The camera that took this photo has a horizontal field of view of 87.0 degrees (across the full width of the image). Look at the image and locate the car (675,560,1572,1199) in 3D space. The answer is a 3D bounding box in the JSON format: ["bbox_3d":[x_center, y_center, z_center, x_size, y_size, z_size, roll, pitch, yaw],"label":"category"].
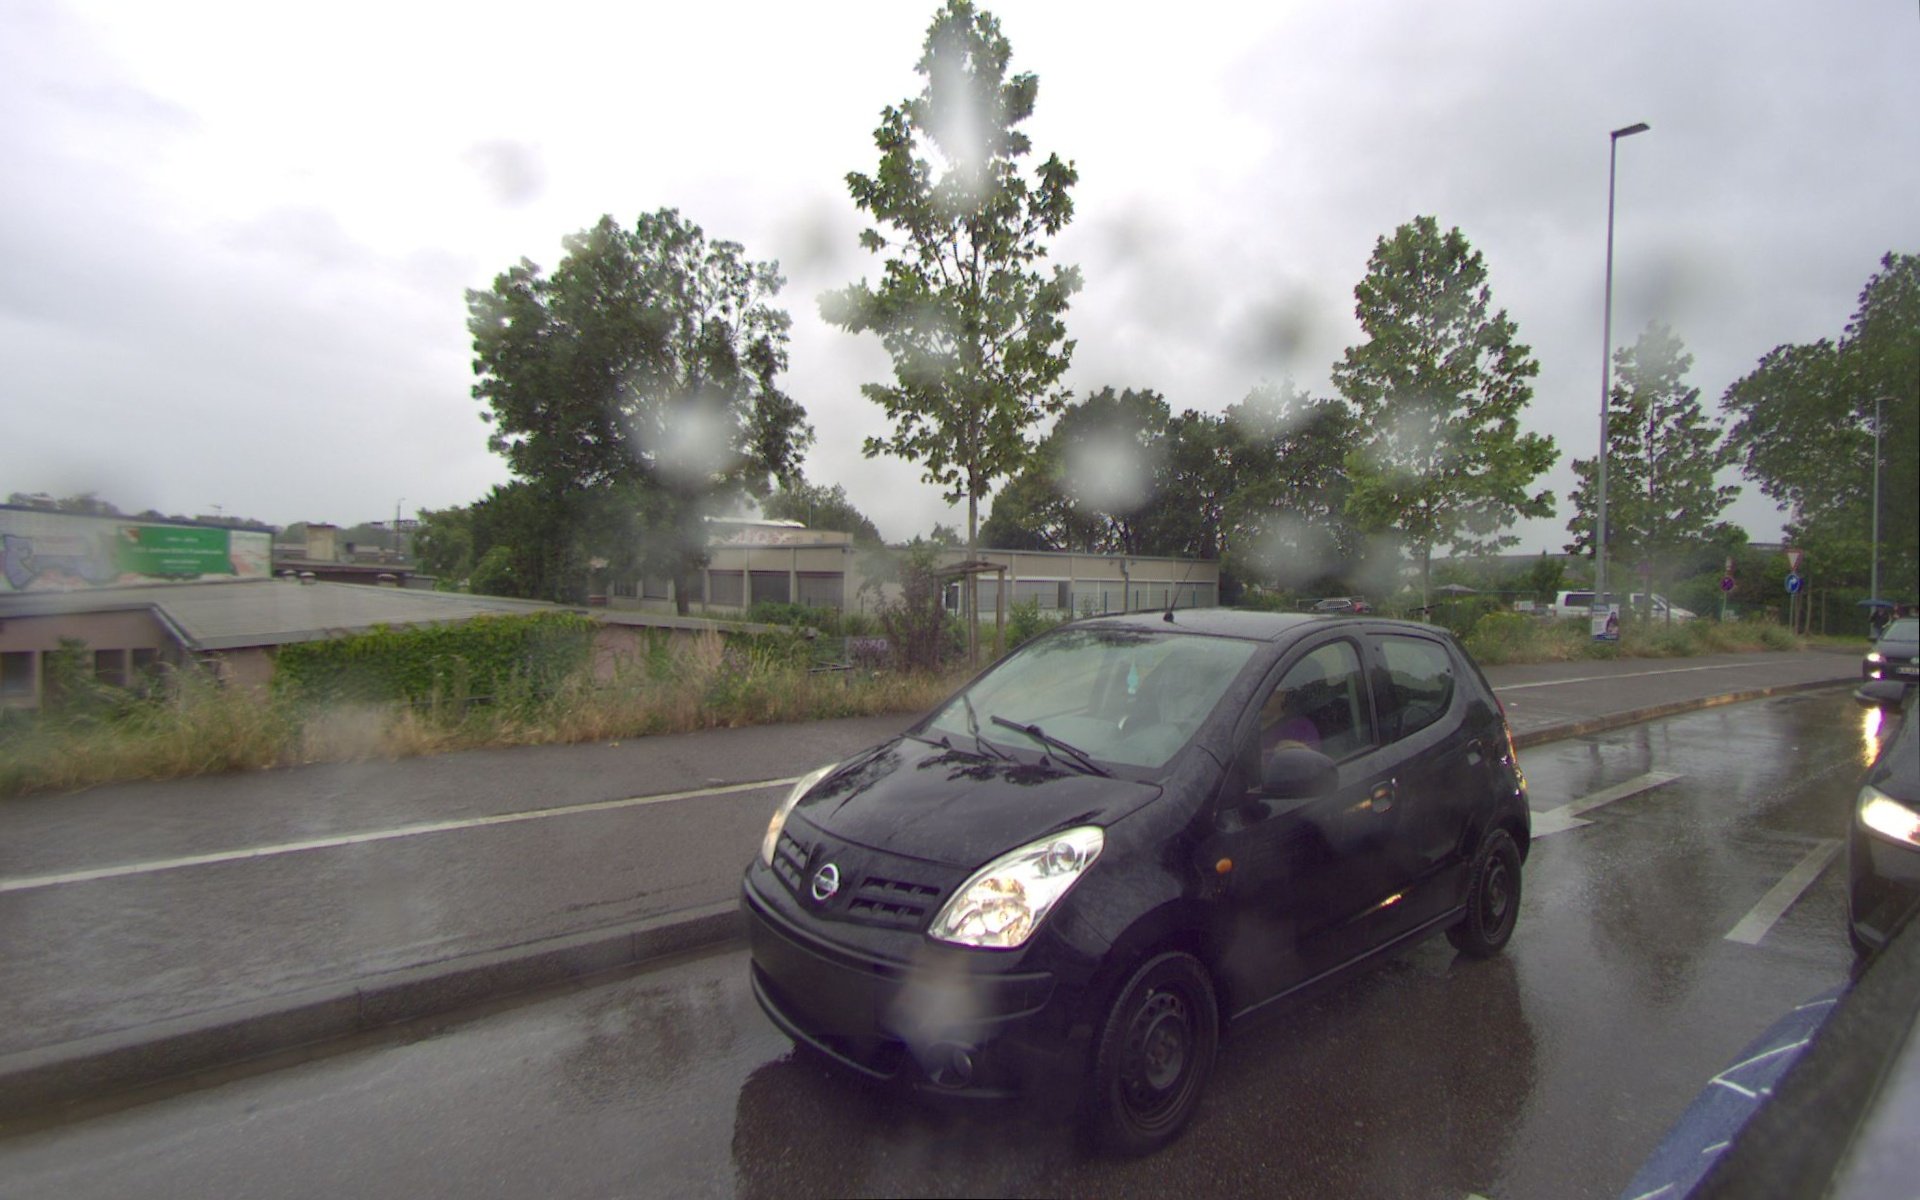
[{"bbox_3d":[0.897,0.677,3.957,3.554,1.528,1.556,0,0,-41],"label":"car"}]

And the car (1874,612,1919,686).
[{"bbox_3d":[18.745,0.889,19.202,3.652,1.326,1.616,1,-1,-41],"label":"car"}]

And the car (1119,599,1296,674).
[{"bbox_3d":[4.682,0.645,19.486,1.319,1.304,3.246,0,0,-35],"label":"car"}]

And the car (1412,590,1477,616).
[{"bbox_3d":[30.927,0.169,64.680,1.319,1.604,3.555,0,0,-35],"label":"car"}]

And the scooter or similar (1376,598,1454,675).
[{"bbox_3d":[7.664,0.586,17.003,1.877,1.214,0.367,0,0,-38],"label":"scooter or similar"}]

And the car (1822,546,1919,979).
[{"bbox_3d":[5.555,0.625,4.435,4.089,1.601,1.760,1,0,-35],"label":"car"}]

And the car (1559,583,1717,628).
[{"bbox_3d":[28.290,0.215,42.382,1.972,1.747,5.168,0,0,-42],"label":"car"}]
